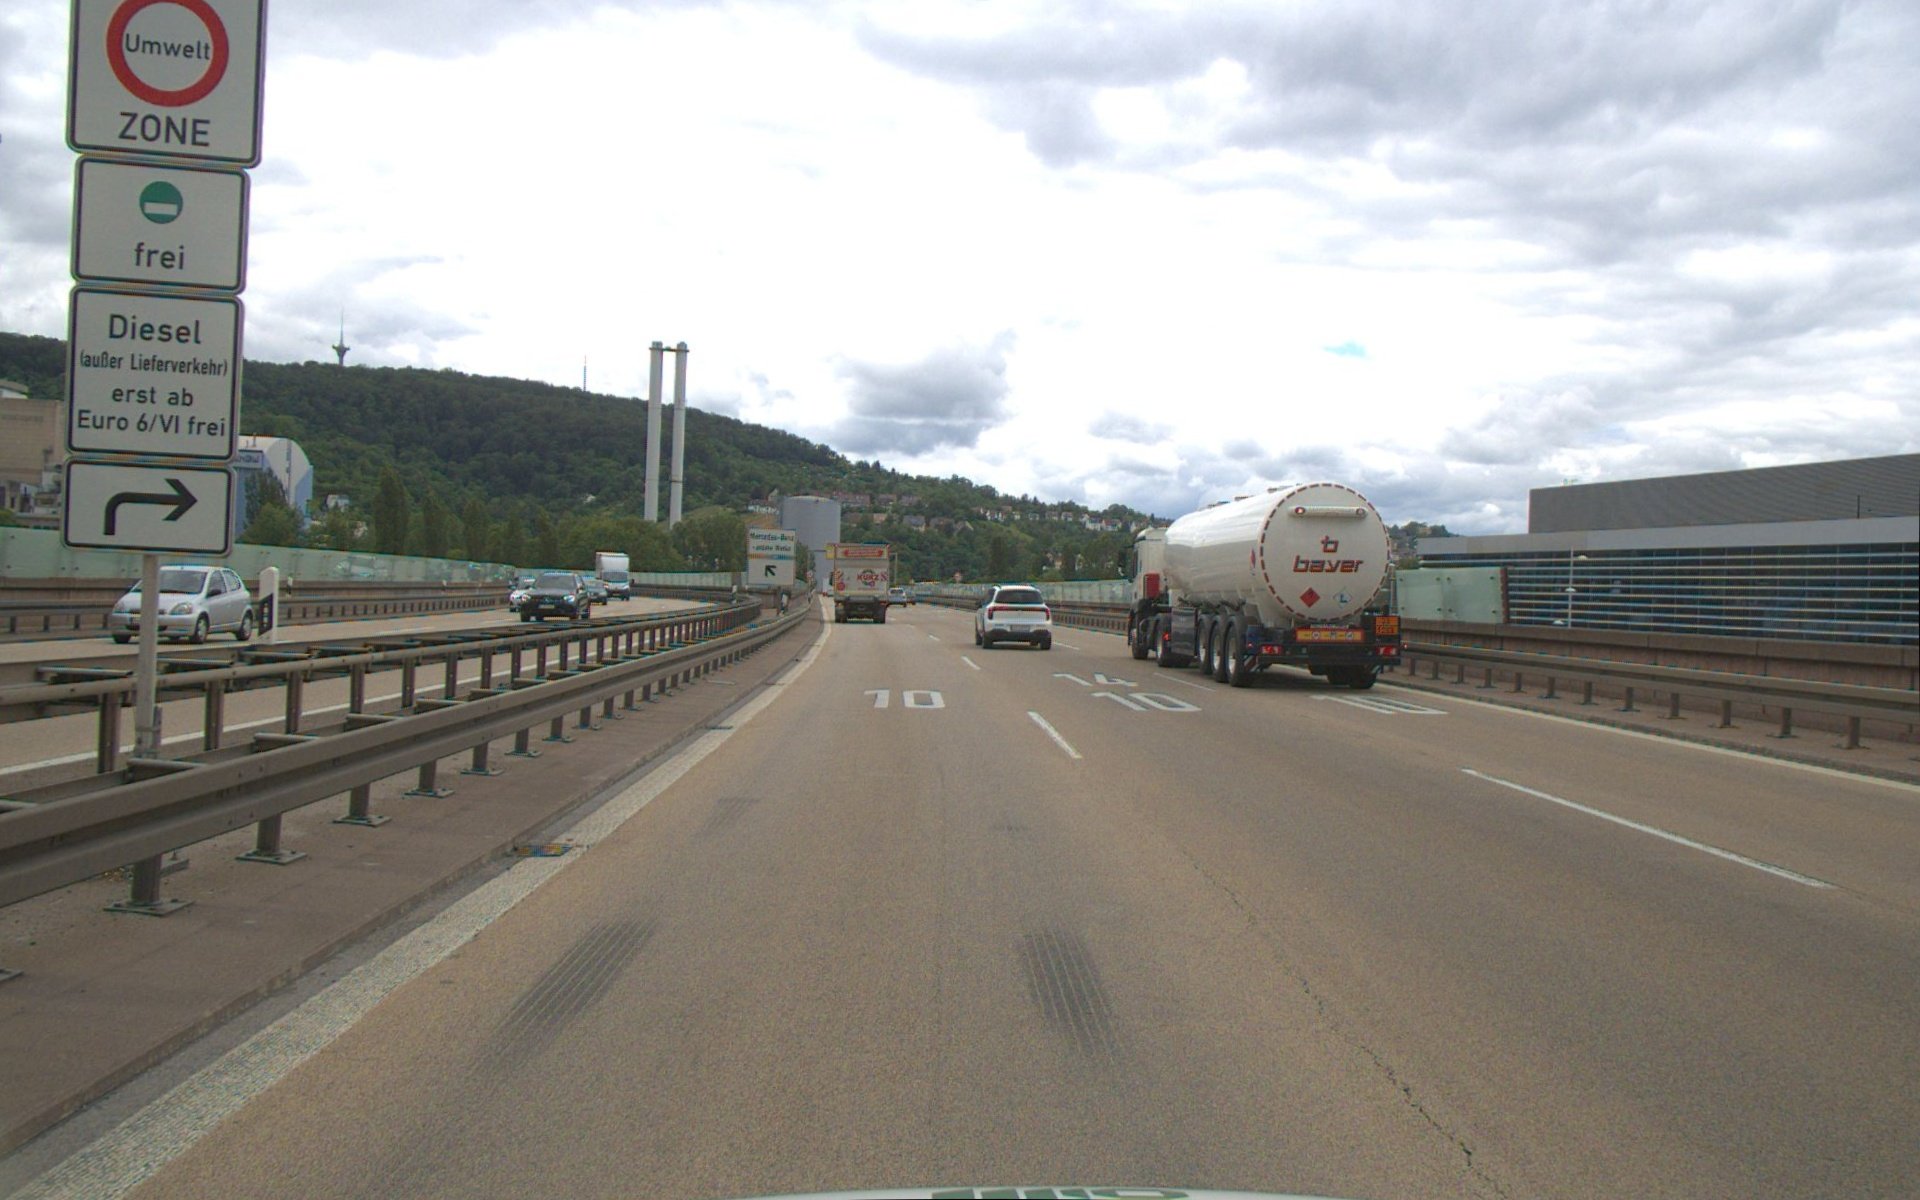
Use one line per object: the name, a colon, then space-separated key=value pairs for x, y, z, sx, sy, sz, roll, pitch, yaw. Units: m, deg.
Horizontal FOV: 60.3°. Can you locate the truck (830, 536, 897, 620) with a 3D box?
truck: x=-4.651 y=-1.002 z=79.121 sx=2.996 sy=3.755 sz=8.297 roll=1 pitch=0 yaw=-4

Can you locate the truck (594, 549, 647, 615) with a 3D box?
truck: x=-24.631 y=-1.261 z=120.281 sx=2.999 sy=4.642 sz=8.290 roll=1 pitch=0 yaw=-7

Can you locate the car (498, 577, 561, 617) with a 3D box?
car: x=-19.205 y=-0.103 z=73.918 sx=1.955 sy=1.704 sz=4.403 roll=1 pitch=0 yaw=-5

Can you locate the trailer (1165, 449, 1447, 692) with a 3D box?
trailer: x=6.080 y=-0.457 z=30.709 sx=2.996 sy=3.856 sz=8.297 roll=1 pitch=0 yaw=-4

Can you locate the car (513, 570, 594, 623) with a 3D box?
car: x=-13.741 y=-0.095 z=56.136 sx=1.955 sy=1.704 sz=4.403 roll=1 pitch=0 yaw=-5

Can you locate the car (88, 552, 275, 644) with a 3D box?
car: x=-15.632 y=-0.023 z=33.481 sx=1.954 sy=1.704 sz=4.404 roll=1 pitch=0 yaw=-4

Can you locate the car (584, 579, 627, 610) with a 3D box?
car: x=-20.336 y=-0.312 z=94.991 sx=1.955 sy=1.704 sz=4.402 roll=1 pitch=0 yaw=-6

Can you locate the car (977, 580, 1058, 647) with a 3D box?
car: x=1.539 y=0.363 z=45.516 sx=1.953 sy=1.704 sz=4.406 roll=1 pitch=0 yaw=-2

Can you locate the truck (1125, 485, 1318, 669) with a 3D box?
truck: x=5.673 y=-0.456 z=37.014 sx=2.955 sy=3.721 sz=6.268 roll=1 pitch=0 yaw=-4
